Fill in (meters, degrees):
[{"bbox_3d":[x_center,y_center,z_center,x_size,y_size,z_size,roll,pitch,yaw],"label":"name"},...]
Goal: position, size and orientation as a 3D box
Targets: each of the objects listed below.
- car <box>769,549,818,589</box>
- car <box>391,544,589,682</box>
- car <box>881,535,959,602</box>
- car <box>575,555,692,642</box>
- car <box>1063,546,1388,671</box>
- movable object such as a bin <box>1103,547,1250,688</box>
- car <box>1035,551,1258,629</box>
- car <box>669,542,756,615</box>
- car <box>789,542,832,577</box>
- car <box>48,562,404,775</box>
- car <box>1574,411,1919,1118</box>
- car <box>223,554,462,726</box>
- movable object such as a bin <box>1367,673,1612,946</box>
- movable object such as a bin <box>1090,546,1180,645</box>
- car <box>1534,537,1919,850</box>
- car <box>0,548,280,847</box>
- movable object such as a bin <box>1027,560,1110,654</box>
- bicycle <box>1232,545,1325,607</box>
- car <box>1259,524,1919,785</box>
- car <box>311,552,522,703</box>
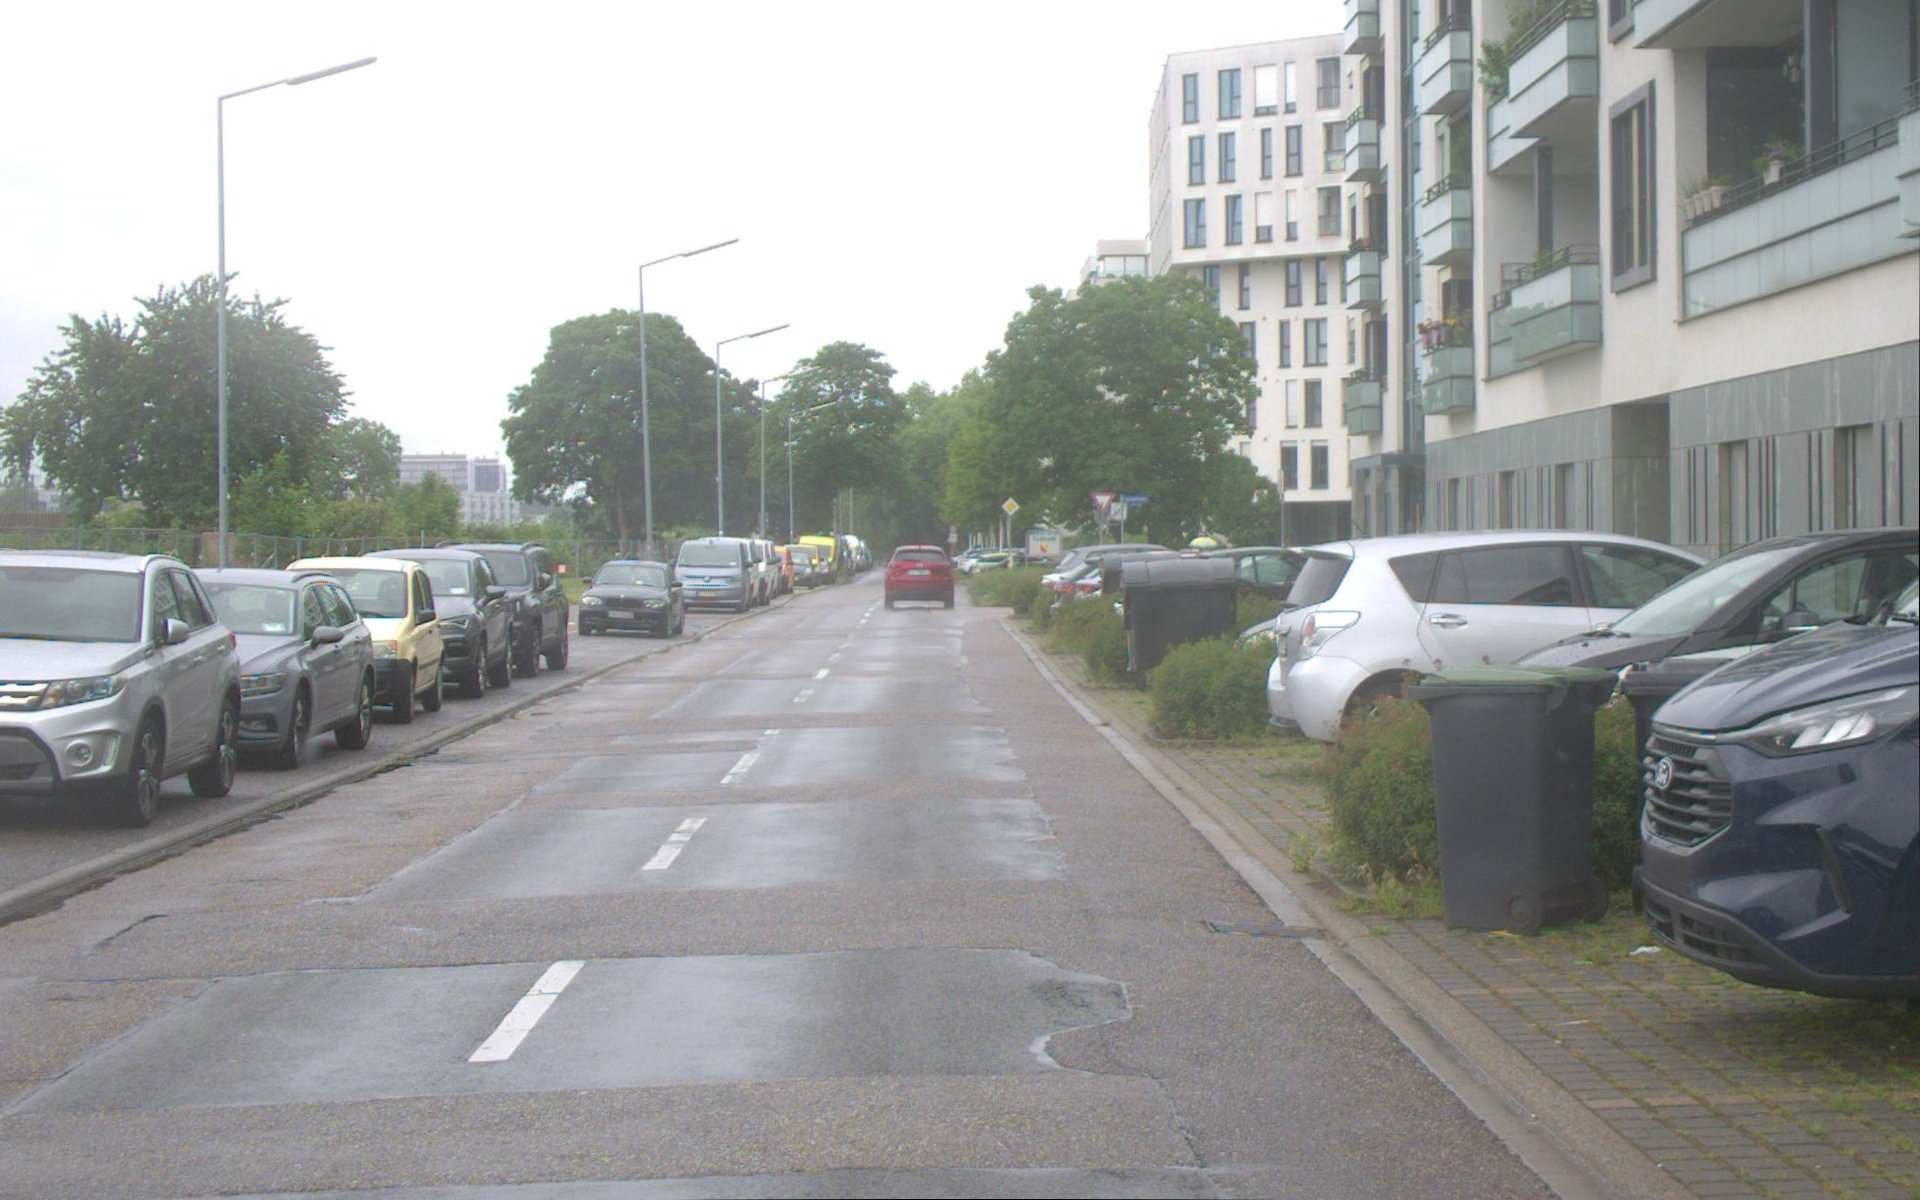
[{"bbox_3d":[-6.969,-1.300,143.985,1.804,1.556,4.033,2,1,0],"label":"car"},{"bbox_3d":[-6.095,0.122,45.102,1.753,1.687,4.880,0,1,2],"label":"car"},{"bbox_3d":[-1.025,-0.835,90.798,1.993,1.678,4.600,1,1,0],"label":"car"},{"bbox_3d":[-6.269,-0.046,66.348,1.847,1.556,4.152,2,1,0],"label":"car"},{"bbox_3d":[3.685,0.101,48.299,4.346,1.525,1.893,-3,1,-1],"label":"car"},{"bbox_3d":[2.429,0.184,38.775,1.495,1.488,1.156,-3,1,0],"label":"movable object such as a bin"},{"bbox_3d":[3.800,-0.217,70.690,4.409,1.400,1.911,-2,1,-1],"label":"car"},{"bbox_3d":[-6.507,-0.587,90.797,1.956,1.895,4.995,0,1,0],"label":"car"},{"bbox_3d":[-7.325,-1.972,169.114,1.993,1.588,5.018,2,0,-2],"label":"car"},{"bbox_3d":[-5.789,0.491,27.678,1.837,1.523,4.671,2,0,0],"label":"car"},{"bbox_3d":[4.613,0.342,10.462,5.049,1.922,1.982,-2,1,-1],"label":"car"},{"bbox_3d":[-5.983,0.357,33.723,1.725,1.569,4.211,0,0,-2],"label":"car"},{"bbox_3d":[2.152,0.835,13.980,0.816,1.043,0.539,0,1,38],"label":"movable object such as a bin"},{"bbox_3d":[2.772,-0.082,54.731,1.300,1.521,1.582,-2,1,0],"label":"movable object such as a bin"},{"bbox_3d":[5.293,0.401,17.964,4.175,1.478,1.750,-3,0,-4],"label":"car"},{"bbox_3d":[-5.712,0.514,21.865,1.852,1.602,4.989,3,1,-2],"label":"car"},{"bbox_3d":[1.823,0.107,58.032,1.300,1.521,1.582,-2,1,0],"label":"movable object such as a bin"},{"bbox_3d":[7.954,-0.601,85.855,2.190,1.517,0.630,-1,1,20],"label":"bicycle"},{"bbox_3d":[4.249,0.356,23.506,4.207,1.638,1.687,-1,0,-1],"label":"car"},{"bbox_3d":[-6.068,0.266,38.763,1.752,1.585,4.133,0,1,0],"label":"car"}]
